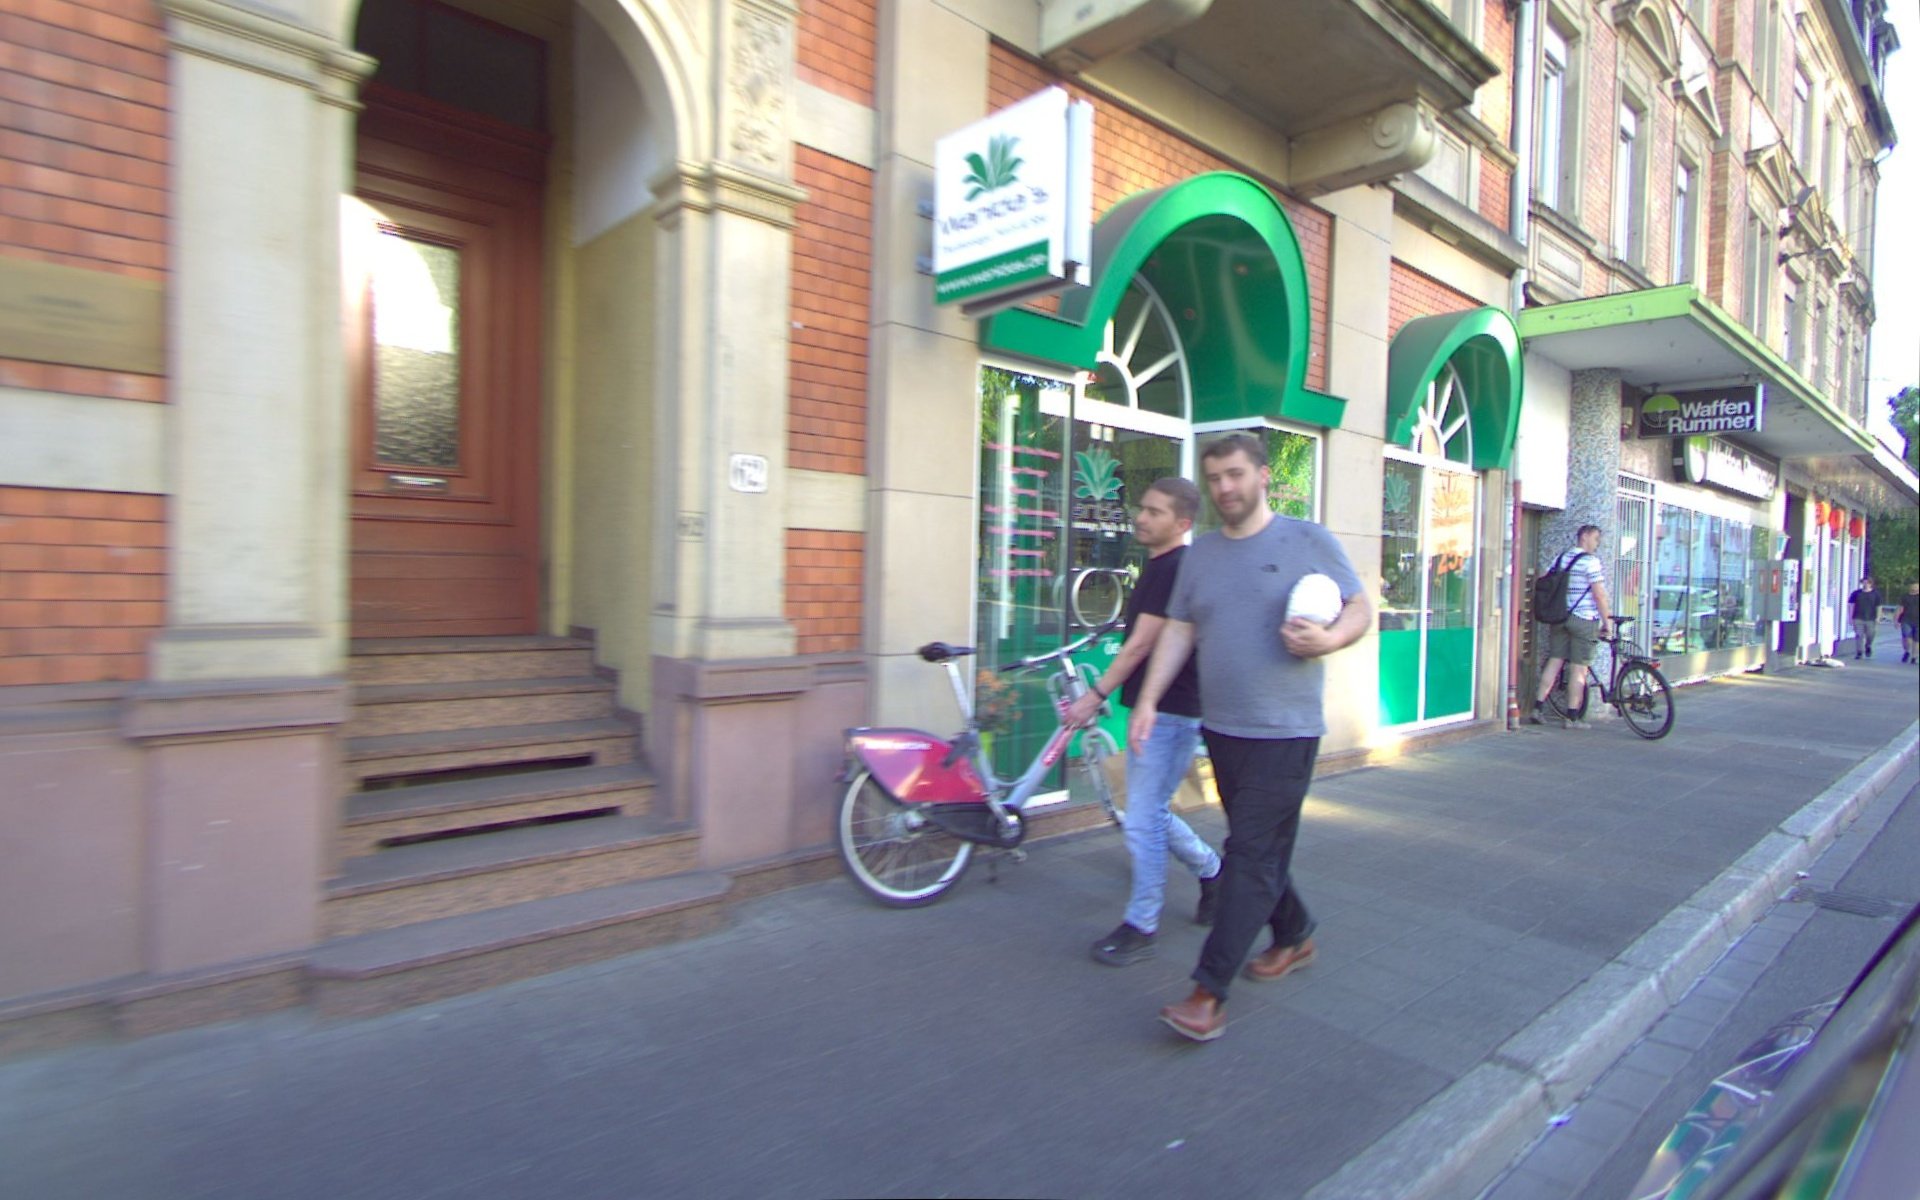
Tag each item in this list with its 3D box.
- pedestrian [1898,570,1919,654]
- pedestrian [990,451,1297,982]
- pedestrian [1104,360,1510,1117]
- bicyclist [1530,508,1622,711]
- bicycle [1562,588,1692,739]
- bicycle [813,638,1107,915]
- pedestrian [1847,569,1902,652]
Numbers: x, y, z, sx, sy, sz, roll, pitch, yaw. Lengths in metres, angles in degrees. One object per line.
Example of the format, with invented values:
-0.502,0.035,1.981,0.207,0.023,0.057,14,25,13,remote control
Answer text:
20.378,0.266,21.360,0.493,1.744,0.701,0,3,-40,pedestrian
0.683,0.363,3.842,0.741,1.744,0.777,0,3,-41,pedestrian
1.042,0.333,3.102,0.741,1.917,0.824,0,3,-41,pedestrian
6.045,0.075,9.961,0.593,1.905,0.738,2,2,23,bicyclist
6.411,0.544,9.827,0.661,1.269,1.881,2,2,22,bicycle
0.023,0.688,4.301,1.216,1.008,0.346,1,3,-33,bicycle
20.030,0.210,22.164,0.669,1.744,0.701,0,3,-40,pedestrian
